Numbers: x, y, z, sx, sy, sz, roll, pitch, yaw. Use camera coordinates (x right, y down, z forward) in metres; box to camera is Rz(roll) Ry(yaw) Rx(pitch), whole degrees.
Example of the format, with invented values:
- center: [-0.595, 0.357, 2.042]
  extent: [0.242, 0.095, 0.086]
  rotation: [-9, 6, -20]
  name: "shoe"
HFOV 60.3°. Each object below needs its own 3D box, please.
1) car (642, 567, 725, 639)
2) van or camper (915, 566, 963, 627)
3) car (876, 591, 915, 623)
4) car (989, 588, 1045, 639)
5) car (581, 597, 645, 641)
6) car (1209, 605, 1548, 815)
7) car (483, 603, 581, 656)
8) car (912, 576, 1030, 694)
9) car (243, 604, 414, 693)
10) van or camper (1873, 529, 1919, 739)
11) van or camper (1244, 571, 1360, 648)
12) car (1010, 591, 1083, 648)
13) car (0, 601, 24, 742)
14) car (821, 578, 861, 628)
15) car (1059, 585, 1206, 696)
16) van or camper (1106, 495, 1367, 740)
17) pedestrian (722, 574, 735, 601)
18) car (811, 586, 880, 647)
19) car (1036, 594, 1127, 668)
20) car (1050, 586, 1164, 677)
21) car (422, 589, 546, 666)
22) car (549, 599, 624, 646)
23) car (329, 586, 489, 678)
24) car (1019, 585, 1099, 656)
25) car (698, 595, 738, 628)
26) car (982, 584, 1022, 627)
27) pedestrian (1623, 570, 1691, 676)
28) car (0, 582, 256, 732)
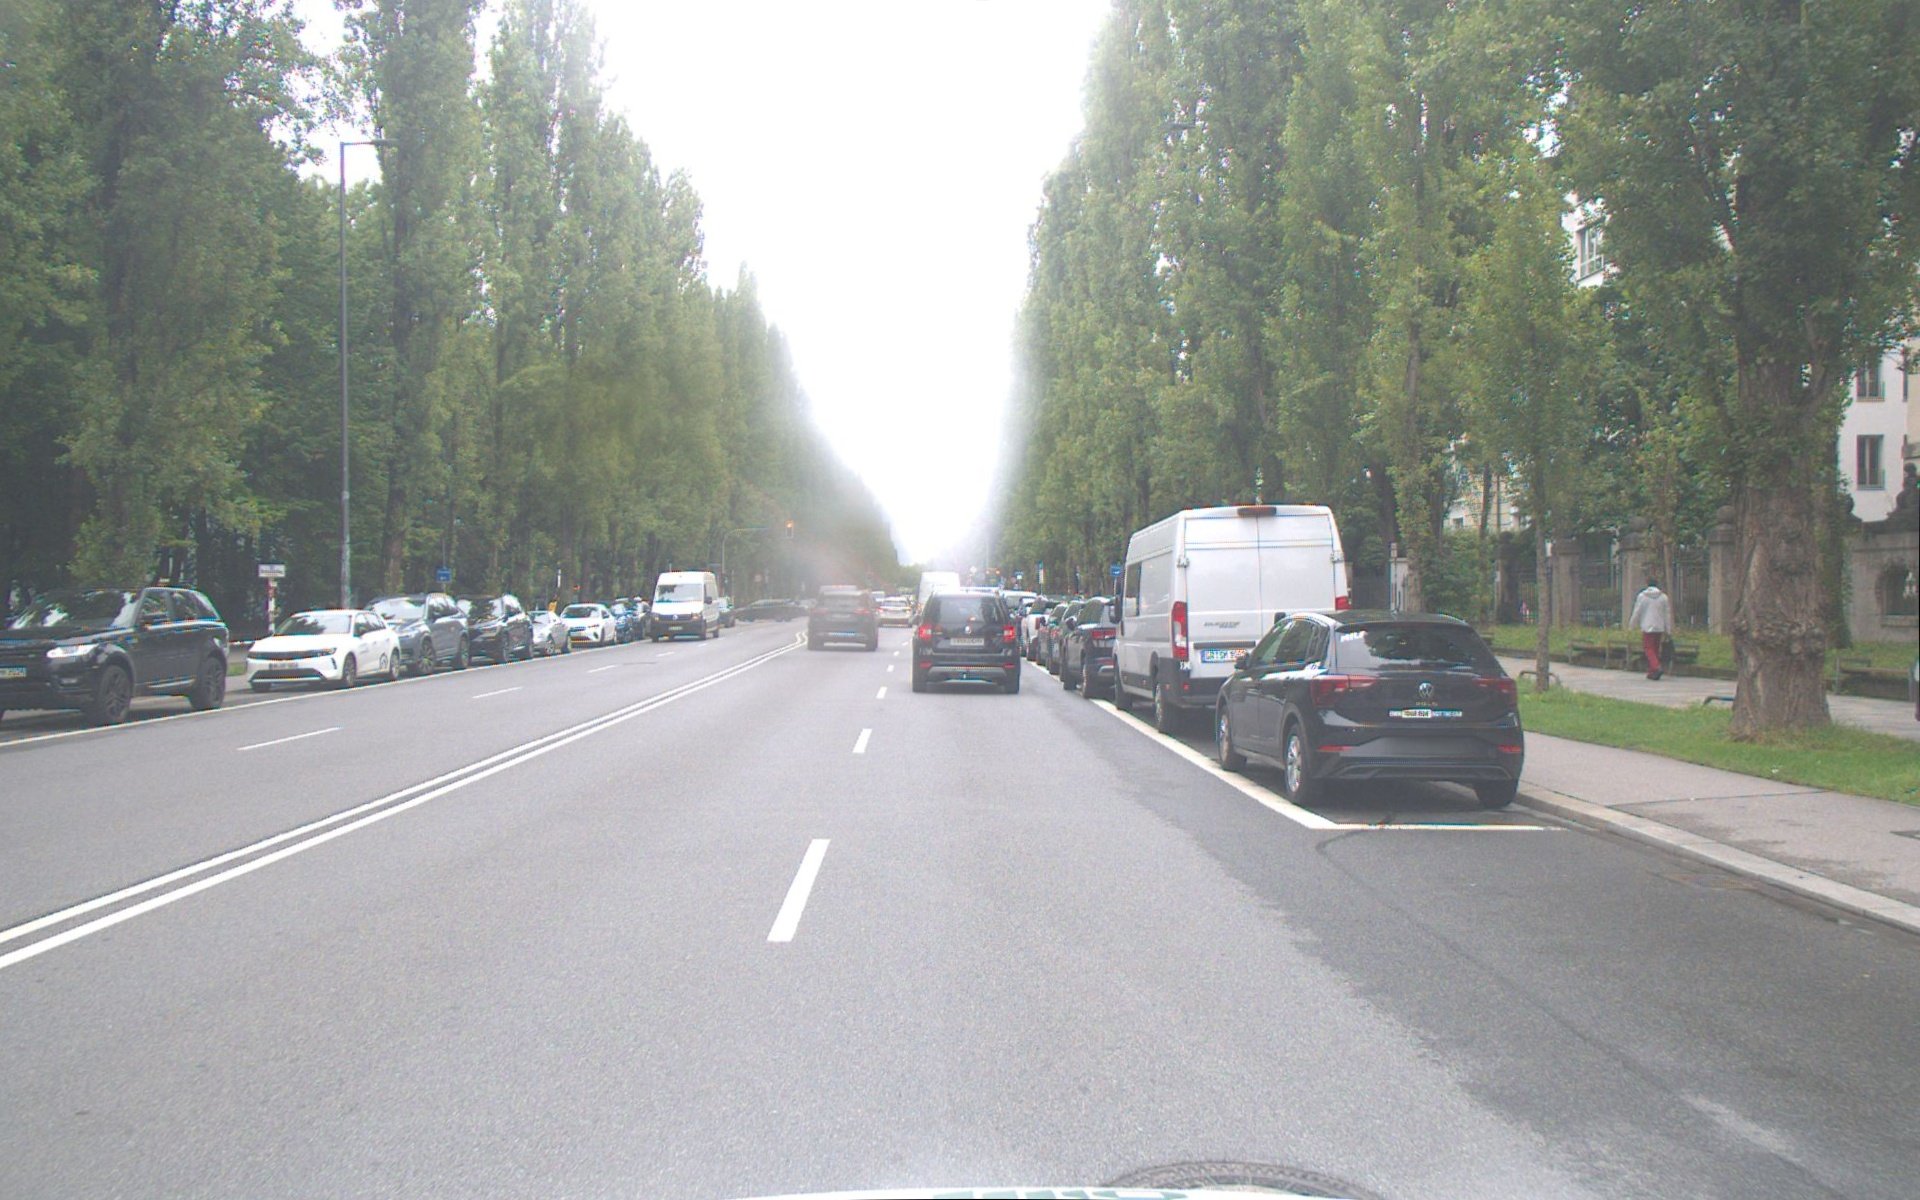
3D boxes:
- center: [-10.457, 0.076, 63.067]
  extent: [2.183, 2.526, 6.756]
  rotation: [-2, 0, -2]
  name: "car"
- center: [-0.948, -0.173, 72.328]
  extent: [1.936, 2.593, 4.023]
  rotation: [0, 0, -3]
  name: "van or camper"
- center: [-3.243, 0.322, 83.460]
  extent: [1.953, 1.588, 3.998]
  rotation: [0, 0, -2]
  name: "car"
- center: [2.204, 0.494, 64.592]
  extent: [1.814, 1.914, 4.166]
  rotation: [0, 0, -3]
  name: "car"
- center: [-12.839, 0.692, 61.322]
  extent: [1.675, 1.476, 3.584]
  rotation: [-3, 0, -2]
  name: "car"
- center: [3.267, 0.778, 13.700]
  extent: [1.642, 1.445, 3.998]
  rotation: [0, 0, -3]
  name: "car"
- center: [-12.472, 0.833, 48.433]
  extent: [1.789, 1.357, 4.232]
  rotation: [-3, 0, -1]
  name: "car"
- center: [0.147, 0.537, 28.005]
  extent: [1.818, 1.801, 3.999]
  rotation: [2, 0, -1]
  name: "car"
- center: [-12.012, 0.866, 31.736]
  extent: [1.670, 1.484, 4.271]
  rotation: [-2, 0, -1]
  name: "car"
- center: [10.009, 0.349, 13.751]
  extent: [1.935, 1.967, 5.037]
  rotation: [1, 0, -2]
  name: "van or camper"
- center: [9.334, 0.214, 45.584]
  extent: [2.034, 1.967, 5.368]
  rotation: [1, 0, -1]
  name: "van or camper"
- center: [2.472, 0.526, 48.088]
  extent: [1.842, 1.567, 4.464]
  rotation: [0, 1, -1]
  name: "car"
- center: [-11.919, 0.867, 17.162]
  extent: [1.905, 1.611, 4.388]
  rotation: [-2, 0, -1]
  name: "car"
- center: [-5.271, 0.150, 73.368]
  extent: [1.746, 2.148, 4.021]
  rotation: [0, 0, -4]
  name: "car"
- center: [2.749, 0.596, 27.327]
  extent: [1.749, 1.677, 4.415]
  rotation: [0, 1, -3]
  name: "car"
- center: [3.208, 0.165, 20.696]
  extent: [2.095, 2.584, 6.416]
  rotation: [0, 0, -1]
  name: "van or camper"
- center: [-13.984, -0.738, 99.961]
  extent: [0.647, 1.605, 0.530]
  rotation: [-1, 0, -1]
  name: "pedestrian"
- center: [-3.199, 0.430, 46.896]
  extent: [1.745, 1.648, 4.024]
  rotation: [0, 1, -1]
  name: "car"
- center: [2.699, 0.655, 37.469]
  extent: [1.668, 1.546, 4.294]
  rotation: [0, 1, -1]
  name: "car"
- center: [2.803, 0.558, 32.443]
  extent: [1.747, 1.646, 4.637]
  rotation: [0, 1, -1]
  name: "car"
- center: [-12.257, 0.651, 42.908]
  extent: [1.902, 1.798, 4.893]
  rotation: [-3, 0, -2]
  name: "car"
- center: [-12.848, 0.745, 57.130]
  extent: [1.735, 1.477, 4.231]
  rotation: [-3, 0, -2]
  name: "car"
- center: [-12.217, 0.658, 37.040]
  extent: [1.871, 1.820, 5.178]
  rotation: [-3, 0, -1]
  name: "car"
- center: [2.484, 0.487, 42.395]
  extent: [1.707, 1.705, 4.579]
  rotation: [0, 1, -1]
  name: "car"
- center: [-13.660, 0.626, 93.614]
  extent: [1.812, 1.683, 4.692]
  rotation: [-2, 0, -3]
  name: "car"
- center: [1.931, 0.219, 77.135]
  extent: [1.700, 1.928, 4.024]
  rotation: [0, 0, -1]
  name: "car"
- center: [12.028, 0.392, 28.579]
  extent: [0.779, 1.799, 0.895]
  rotation: [0, 0, -1]
  name: "pedestrian"
- center: [-11.857, 0.726, 23.036]
  extent: [2.004, 1.817, 4.799]
  rotation: [-3, 0, 0]
  name: "car"
